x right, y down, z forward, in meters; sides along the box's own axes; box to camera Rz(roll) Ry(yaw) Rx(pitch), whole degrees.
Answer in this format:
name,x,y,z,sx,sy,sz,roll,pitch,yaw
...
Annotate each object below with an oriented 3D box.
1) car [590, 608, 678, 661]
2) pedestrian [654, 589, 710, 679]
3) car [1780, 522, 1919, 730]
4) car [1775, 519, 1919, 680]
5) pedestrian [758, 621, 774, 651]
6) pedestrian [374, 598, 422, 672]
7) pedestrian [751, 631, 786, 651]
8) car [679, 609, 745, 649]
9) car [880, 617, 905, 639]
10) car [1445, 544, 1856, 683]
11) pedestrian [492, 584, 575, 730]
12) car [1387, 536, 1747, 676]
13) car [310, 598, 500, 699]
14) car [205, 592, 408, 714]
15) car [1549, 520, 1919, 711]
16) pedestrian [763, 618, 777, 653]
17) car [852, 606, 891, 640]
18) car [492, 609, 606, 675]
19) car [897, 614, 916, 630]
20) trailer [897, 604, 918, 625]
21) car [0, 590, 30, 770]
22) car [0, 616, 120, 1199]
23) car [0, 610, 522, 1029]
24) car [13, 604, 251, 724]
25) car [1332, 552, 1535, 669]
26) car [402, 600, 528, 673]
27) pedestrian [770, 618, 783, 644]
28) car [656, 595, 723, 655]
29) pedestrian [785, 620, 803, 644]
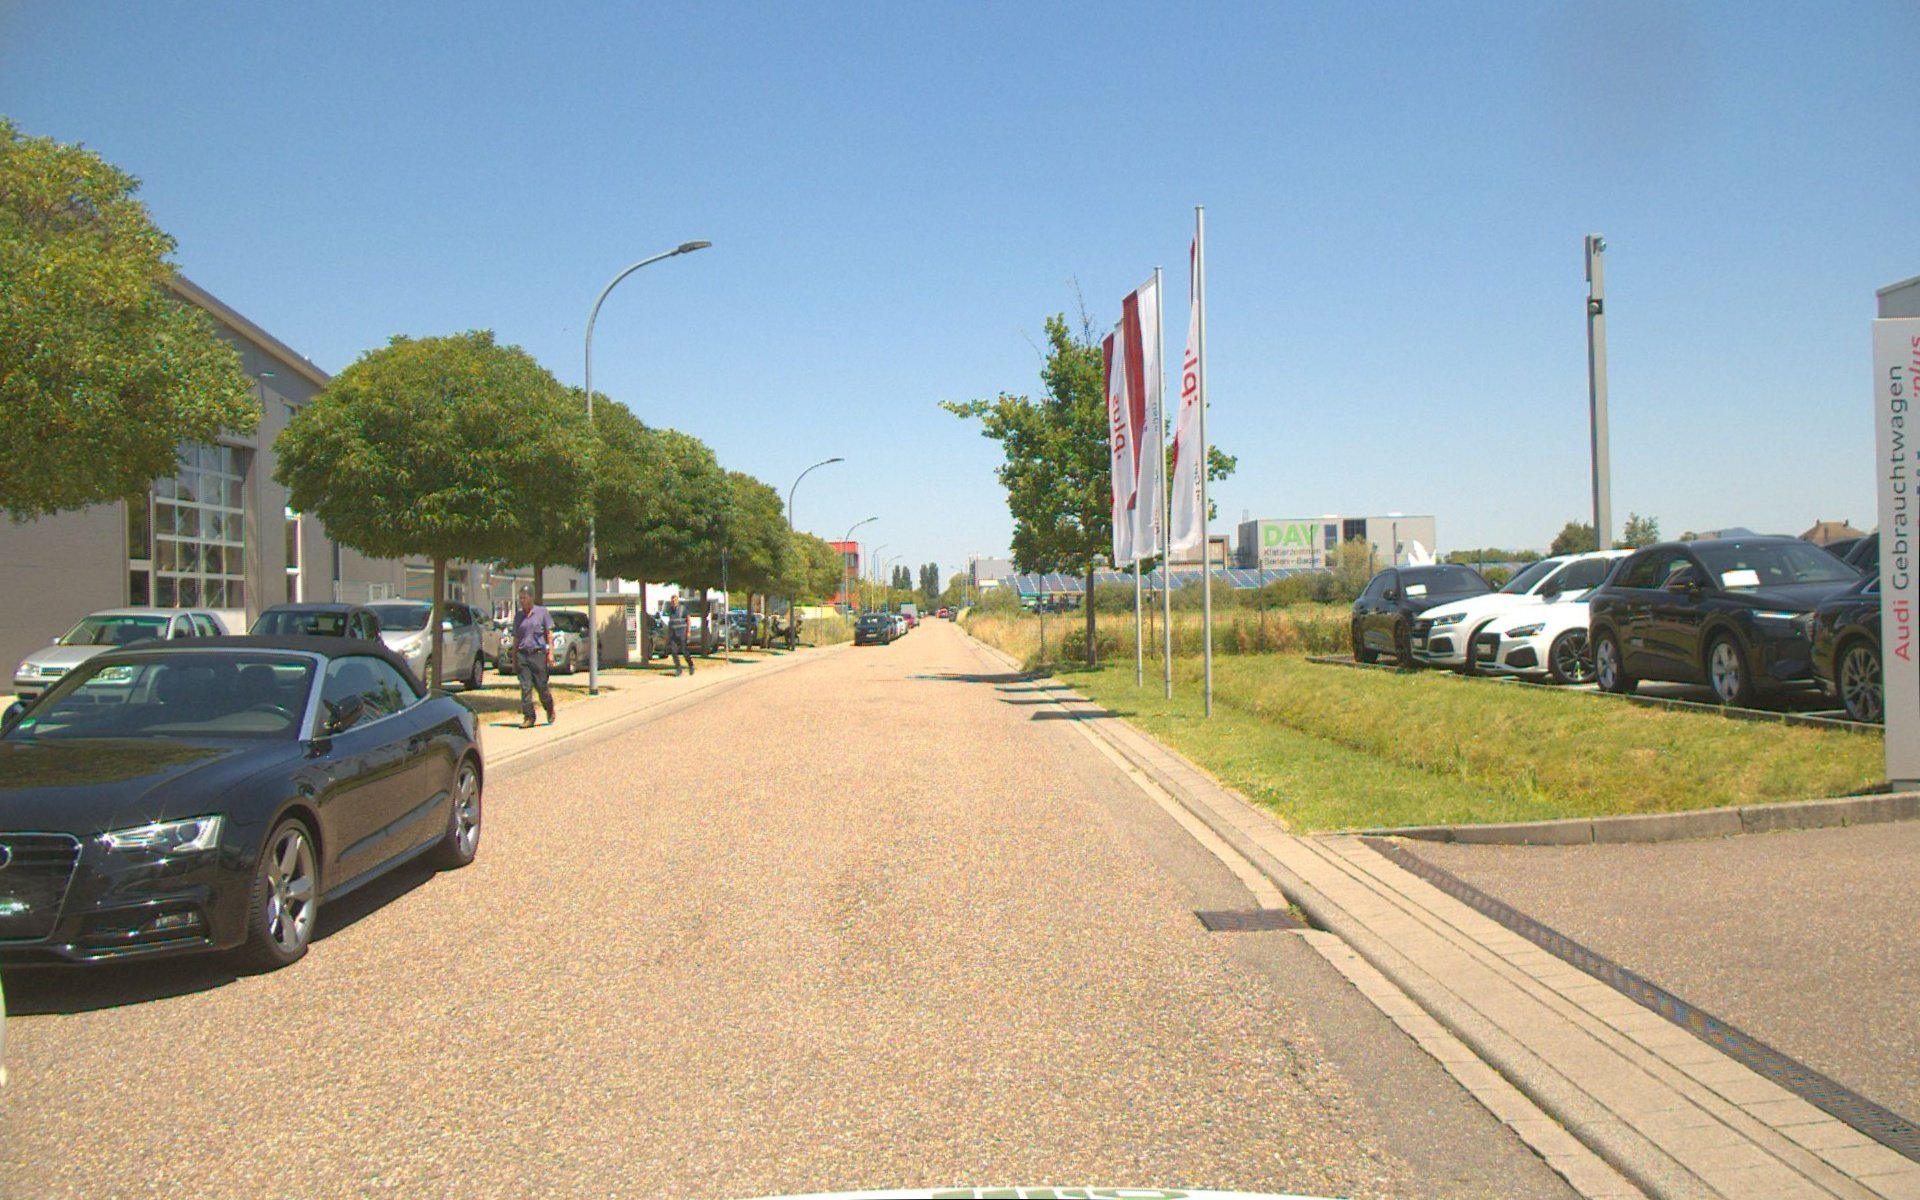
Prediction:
name,x,y,z,sx,sy,sz,roll,pitch,yaw
car,-9.684,0.989,49.455,1.730,1.479,4.713,-1,0,-1
pedestrian,-6.326,0.761,37.608,0.827,2.007,0.960,0,-1,39
car,8.075,0.114,11.531,1.984,1.540,5.238,-5,0,-1
car,10.589,-0.054,16.971,1.984,1.617,4.778,-3,0,-1
pedestrian,-7.788,1.441,66.442,0.468,1.170,0.555,1,-3,9
pedestrian,-13.321,0.822,39.214,0.823,1.743,0.964,0,-1,-1
pedestrian,-7.828,1.662,67.711,1.330,0.762,0.753,1,-1,1
car,-9.829,1.184,65.920,1.887,1.466,4.840,-2,-2,0
car,-5.157,2.134,127.350,1.750,1.547,3.981,-2,0,-1
car,8.860,0.170,21.485,4.438,1.482,2.030,-3,0,-3
pedestrian,-5.510,0.726,21.419,0.729,1.833,1.135,1,0,1
car,8.764,0.084,24.156,4.438,1.722,2.030,-3,0,-3
car,-9.383,0.783,28.365,1.729,1.601,4.539,0,0,0
car,-9.099,0.700,23.323,1.650,1.526,3.700,-2,0,-6
car,7.958,0.135,17.023,1.984,1.601,4.778,-3,0,-1
pedestrian,-8.806,1.648,76.525,0.495,1.623,0.753,1,-1,1
car,-4.514,1.156,84.676,1.888,1.595,4.188,-2,0,-2
car,-9.675,0.962,39.216,1.729,1.479,3.840,0,0,0
car,-5.392,2.204,167.206,1.750,1.547,3.981,-2,-1,-1
trailer,-5.653,1.586,178.629,2.156,2.175,4.284,-2,-1,-1
car,-9.090,0.706,12.322,1.787,1.526,4.328,-2,0,1
car,-3.405,0.831,2.793,1.787,1.526,4.258,-2,0,-1
car,-3.712,0.847,8.403,1.787,1.526,4.524,-2,0,-1
car,-11.308,0.827,22.873,1.649,1.526,3.701,0,0,-5
car,7.970,0.174,28.388,1.983,1.722,5.108,-3,0,1
car,-11.826,0.848,39.763,1.699,1.656,4.348,0,0,0
pedestrian,-8.677,1.446,78.152,0.495,1.212,0.753,1,-1,1
car,-9.789,0.879,60.206,1.800,2.054,5.122,1,0,-3
pedestrian,-7.697,1.487,76.760,0.735,1.118,0.647,1,-1,3
